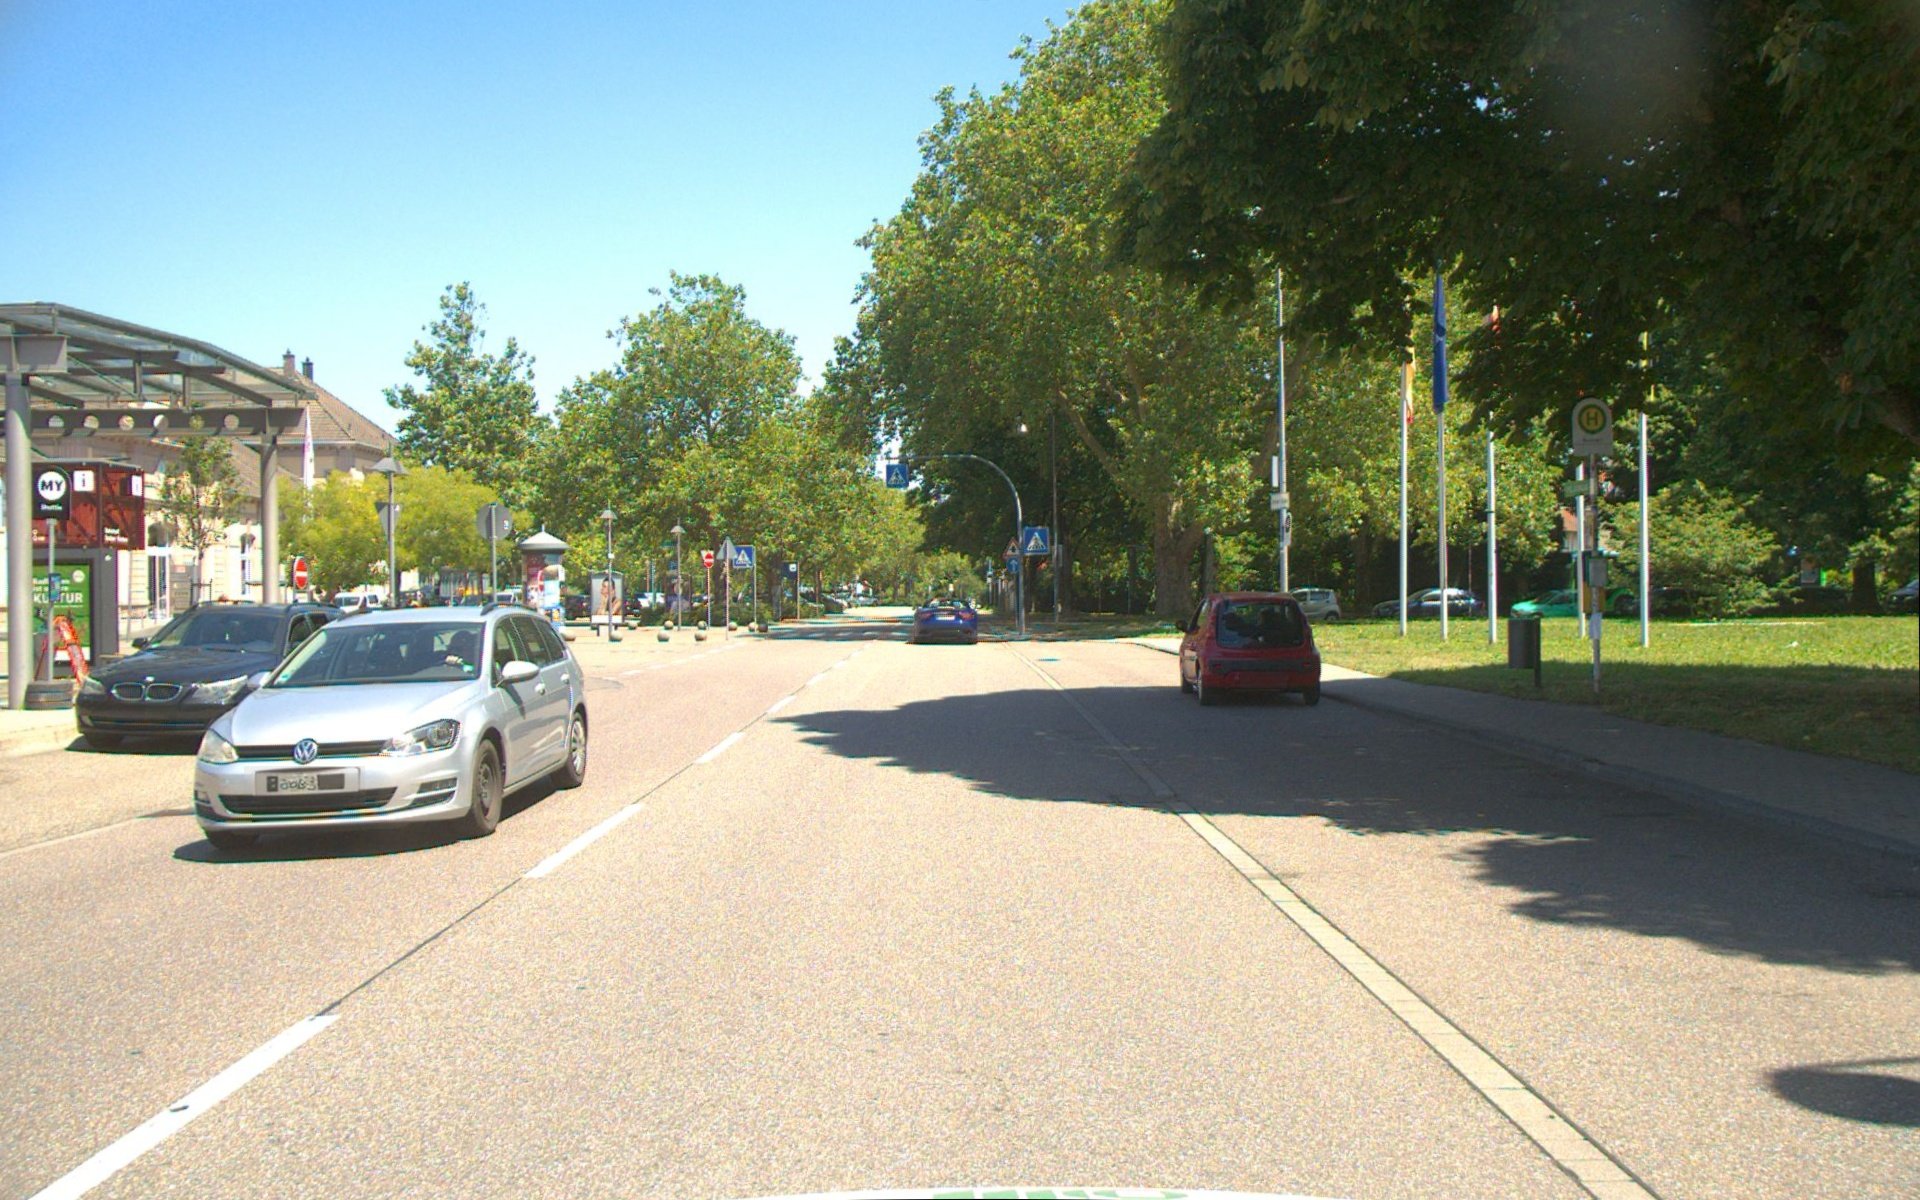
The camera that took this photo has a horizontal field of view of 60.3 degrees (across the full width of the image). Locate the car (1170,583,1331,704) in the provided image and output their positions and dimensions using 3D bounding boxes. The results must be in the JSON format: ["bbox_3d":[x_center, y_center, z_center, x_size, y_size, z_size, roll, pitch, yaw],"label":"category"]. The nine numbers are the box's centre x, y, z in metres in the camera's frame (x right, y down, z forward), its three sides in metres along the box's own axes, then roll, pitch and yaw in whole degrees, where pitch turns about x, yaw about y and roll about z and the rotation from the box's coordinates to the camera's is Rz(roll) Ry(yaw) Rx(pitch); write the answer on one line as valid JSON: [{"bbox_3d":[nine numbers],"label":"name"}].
[{"bbox_3d":[3.939,0.556,22.972,1.683,1.504,3.707,-1,0,2],"label":"car"}]

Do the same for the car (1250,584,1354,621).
[{"bbox_3d":[14.413,0.095,69.880,4.019,1.492,2.001,-1,0,2],"label":"car"}]

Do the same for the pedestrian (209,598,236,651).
[{"bbox_3d":[-24.278,0.813,54.441,0.620,1.702,0.653,-3,-2,43],"label":"pedestrian"}]

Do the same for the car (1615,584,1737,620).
[{"bbox_3d":[29.935,0.090,69.234,4.248,1.441,2.000,0,-1,0],"label":"car"}]

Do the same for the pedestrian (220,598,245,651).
[{"bbox_3d":[-24.322,0.829,55.311,0.578,1.740,0.582,-3,-2,43],"label":"pedestrian"}]

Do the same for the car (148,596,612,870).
[{"bbox_3d":[-3.795,0.769,11.669,1.778,1.469,4.158,-2,1,0],"label":"car"}]

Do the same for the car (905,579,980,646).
[{"bbox_3d":[-0.558,0.348,48.767,2.082,1.881,4.046,0,0,-2],"label":"car"}]

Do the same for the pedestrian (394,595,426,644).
[{"bbox_3d":[-19.086,0.679,57.390,0.744,1.688,0.721,-1,-2,16],"label":"pedestrian"}]

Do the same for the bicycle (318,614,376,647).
[{"bbox_3d":[-20.198,1.005,54.477,1.769,1.048,0.485,0,0,-25],"label":"bicycle"}]

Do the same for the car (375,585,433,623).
[{"bbox_3d":[-31.162,0.186,92.766,1.953,2.049,3.999,-1,0,-2],"label":"car"}]

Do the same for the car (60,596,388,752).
[{"bbox_3d":[-8.099,0.727,18.742,1.684,1.504,4.784,-1,0,-2],"label":"car"}]

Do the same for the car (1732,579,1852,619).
[{"bbox_3d":[34.823,-0.026,69.277,4.012,1.637,2.000,0,-1,1],"label":"car"}]

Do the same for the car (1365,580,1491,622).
[{"bbox_3d":[19.617,0.044,69.484,4.723,1.635,2.001,-1,0,3],"label":"car"}]

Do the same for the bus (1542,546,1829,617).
[{"bbox_3d":[33.023,-0.816,75.472,12.126,3.030,2.268,-1,-1,-1],"label":"bus"}]

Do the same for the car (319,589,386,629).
[{"bbox_3d":[-31.268,0.430,85.210,1.715,1.951,4.775,-1,1,-1],"label":"car"}]

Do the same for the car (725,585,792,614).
[{"bbox_3d":[-12.707,-0.042,104.263,3.927,1.813,1.989,0,0,-19],"label":"car"}]

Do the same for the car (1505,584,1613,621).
[{"bbox_3d":[25.015,0.111,69.183,3.801,1.479,2.000,0,-1,1],"label":"car"}]
